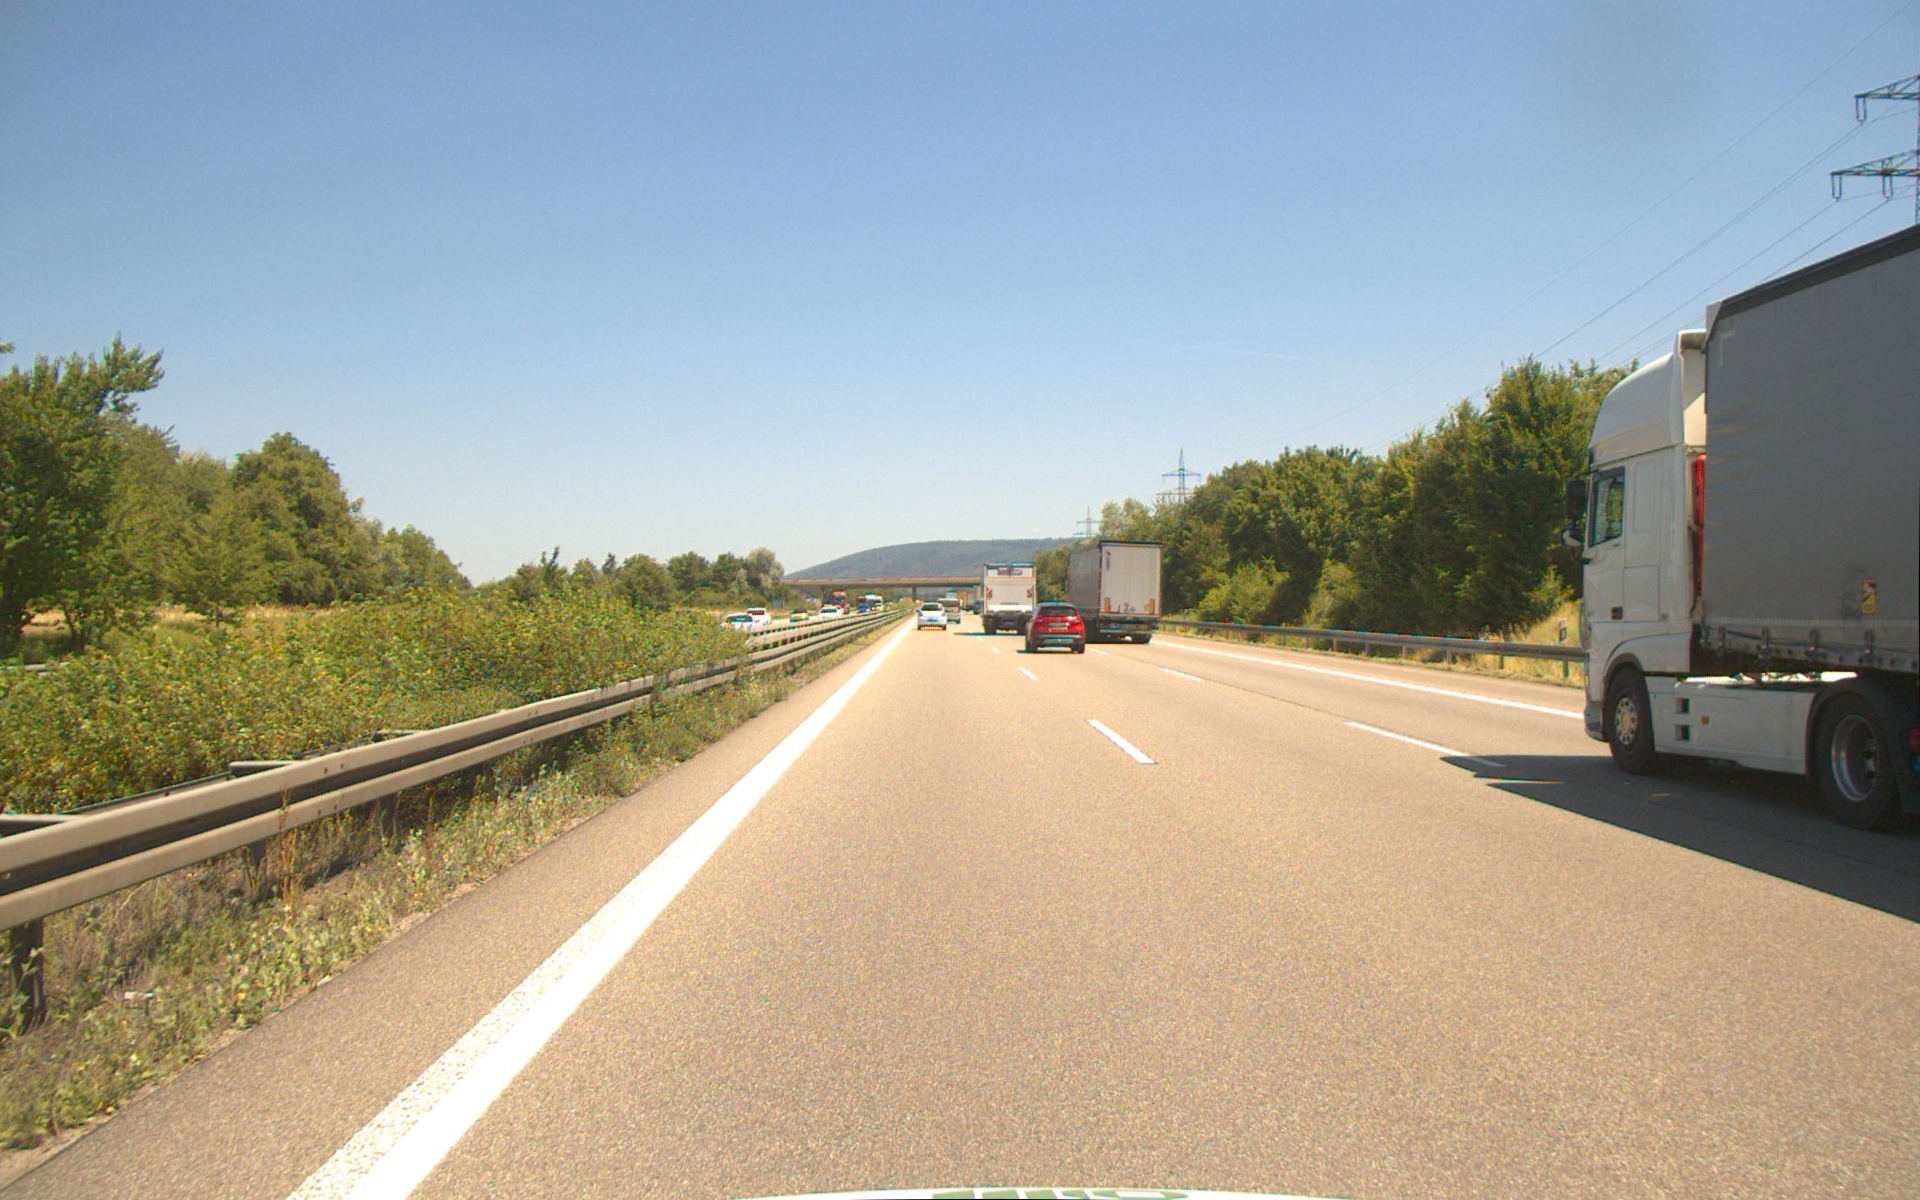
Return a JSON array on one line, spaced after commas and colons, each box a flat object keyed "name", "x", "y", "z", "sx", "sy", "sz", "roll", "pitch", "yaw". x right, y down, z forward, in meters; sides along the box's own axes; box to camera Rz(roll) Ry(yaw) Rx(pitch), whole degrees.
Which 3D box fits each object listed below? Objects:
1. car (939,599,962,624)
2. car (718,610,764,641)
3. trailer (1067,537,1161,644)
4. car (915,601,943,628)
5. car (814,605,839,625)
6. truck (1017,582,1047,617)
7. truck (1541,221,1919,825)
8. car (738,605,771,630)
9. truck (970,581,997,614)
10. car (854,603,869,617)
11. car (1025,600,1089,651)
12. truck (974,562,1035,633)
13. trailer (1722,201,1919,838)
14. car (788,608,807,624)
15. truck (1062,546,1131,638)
[{"name": "car", "x": -0.774, "y": 0.882, "z": 126.896, "sx": 1.725, "sy": 1.883, "sz": 3.999, "roll": 0, "pitch": 0, "yaw": -1}, {"name": "car", "x": -10.406, "y": 1.191, "z": 78.708, "sx": 1.654, "sy": 1.337, "sz": 4.083, "roll": -3, "pitch": 0, "yaw": -1}, {"name": "trailer", "x": 6.558, "y": -0.356, "z": 72.593, "sx": 2.732, "sy": 4.237, "sz": 13.572, "roll": 0, "pitch": 0, "yaw": -1}, {"name": "car", "x": -1.753, "y": 0.802, "z": 95.405, "sx": 1.574, "sy": 1.493, "sz": 3.999, "roll": 0, "pitch": 0, "yaw": -1}, {"name": "car", "x": -11.087, "y": 1.233, "z": 137.936, "sx": 1.758, "sy": 1.518, "sz": 4.237, "roll": -2, "pitch": 0, "yaw": -1}, {"name": "truck", "x": 6.778, "y": -0.051, "z": 157.386, "sx": 2.176, "sy": 3.265, "sz": 10.382, "roll": -1, "pitch": 0, "yaw": -1}, {"name": "truck", "x": 7.587, "y": -0.525, "z": 14.573, "sx": 2.680, "sy": 4.192, "sz": 6.123, "roll": 0, "pitch": 0, "yaw": -1}, {"name": "car", "x": -14.334, "y": 1.225, "z": 115.333, "sx": 1.798, "sy": 1.613, "sz": 3.888, "roll": -2, "pitch": 0, "yaw": -1}, {"name": "truck", "x": 3.304, "y": -0.304, "z": 236.403, "sx": 3.449, "sy": 4.493, "sz": 14.588, "roll": -1, "pitch": 0, "yaw": -1}, {"name": "car", "x": -12.762, "y": 1.244, "z": 213.620, "sx": 1.731, "sy": 1.781, "sz": 3.985, "roll": -2, "pitch": 0, "yaw": -1}, {"name": "car", "x": 3.082, "y": 0.790, "z": 53.198, "sx": 1.766, "sy": 1.572, "sz": 3.999, "roll": 0, "pitch": 0, "yaw": -1}, {"name": "truck", "x": 2.215, "y": -0.117, "z": 84.490, "sx": 2.726, "sy": 3.432, "sz": 8.125, "roll": 1, "pitch": 0, "yaw": -1}, {"name": "trailer", "x": 7.710, "y": -0.528, "z": 7.037, "sx": 2.680, "sy": 4.178, "sz": 13.119, "roll": 0, "pitch": 0, "yaw": -1}, {"name": "car", "x": -15.961, "y": 1.581, "z": 162.388, "sx": 1.550, "sy": 1.453, "sz": 3.476, "roll": -2, "pitch": 0, "yaw": -1}, {"name": "truck", "x": 6.481, "y": -0.345, "z": 79.231, "sx": 2.738, "sy": 4.237, "sz": 5.721, "roll": 0, "pitch": 0, "yaw": -1}]
